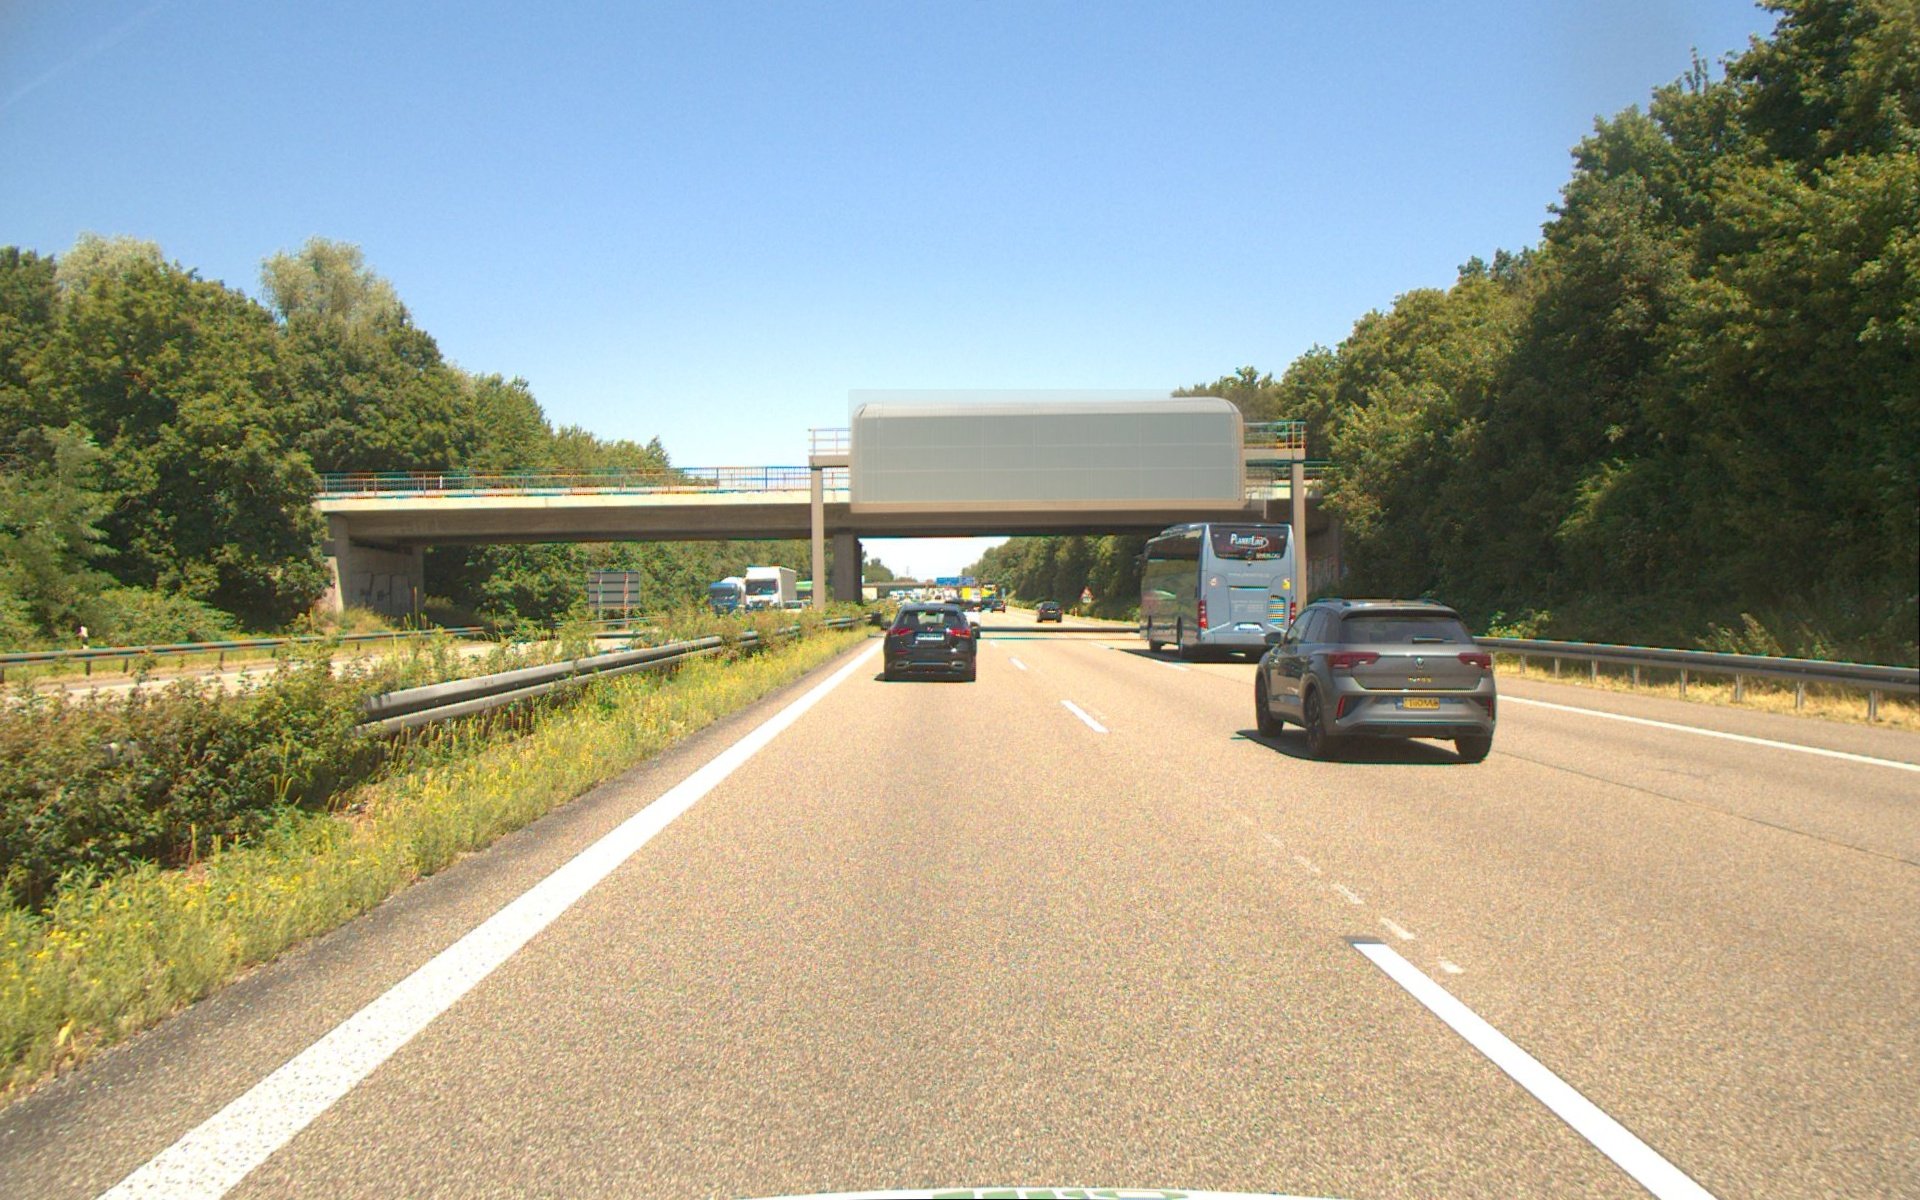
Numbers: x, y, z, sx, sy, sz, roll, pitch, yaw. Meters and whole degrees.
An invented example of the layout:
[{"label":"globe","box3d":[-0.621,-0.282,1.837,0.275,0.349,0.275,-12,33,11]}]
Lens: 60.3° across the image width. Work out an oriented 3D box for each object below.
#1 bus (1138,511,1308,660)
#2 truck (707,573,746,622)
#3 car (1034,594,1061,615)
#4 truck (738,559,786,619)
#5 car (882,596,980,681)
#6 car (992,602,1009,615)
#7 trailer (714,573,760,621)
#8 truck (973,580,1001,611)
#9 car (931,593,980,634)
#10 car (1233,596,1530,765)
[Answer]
[{"label":"bus","box3d":[7.153,-0.353,47.015,2.745,3.659,12.472,0,0,-1]},{"label":"truck","box3d":[-19.061,-0.241,135.308,2.311,3.841,5.251,-2,0,-1]},{"label":"car","box3d":[6.344,0.315,119.846,1.753,1.487,3.949,0,0,0]},{"label":"truck","box3d":[-14.693,-0.825,123.171,2.771,4.285,5.888,-2,0,-1]},{"label":"car","box3d":[-0.577,0.687,32.075,1.763,1.528,4.240,0,0,-2]},{"label":"car","box3d":[5.122,1.100,207.450,2.038,1.559,4.241,0,0,0]},{"label":"trailer","box3d":[-19.140,-0.268,142.485,2.311,3.860,12.072,-2,0,-1]},{"label":"truck","box3d":[4.152,-0.688,257.911,3.574,4.670,15.761,1,0,-2]},{"label":"car","box3d":[-0.213,0.516,66.546,1.861,1.559,4.240,0,0,-2]},{"label":"car","box3d":[4.315,0.747,17.772,1.861,1.559,4.758,0,0,-2]}]
